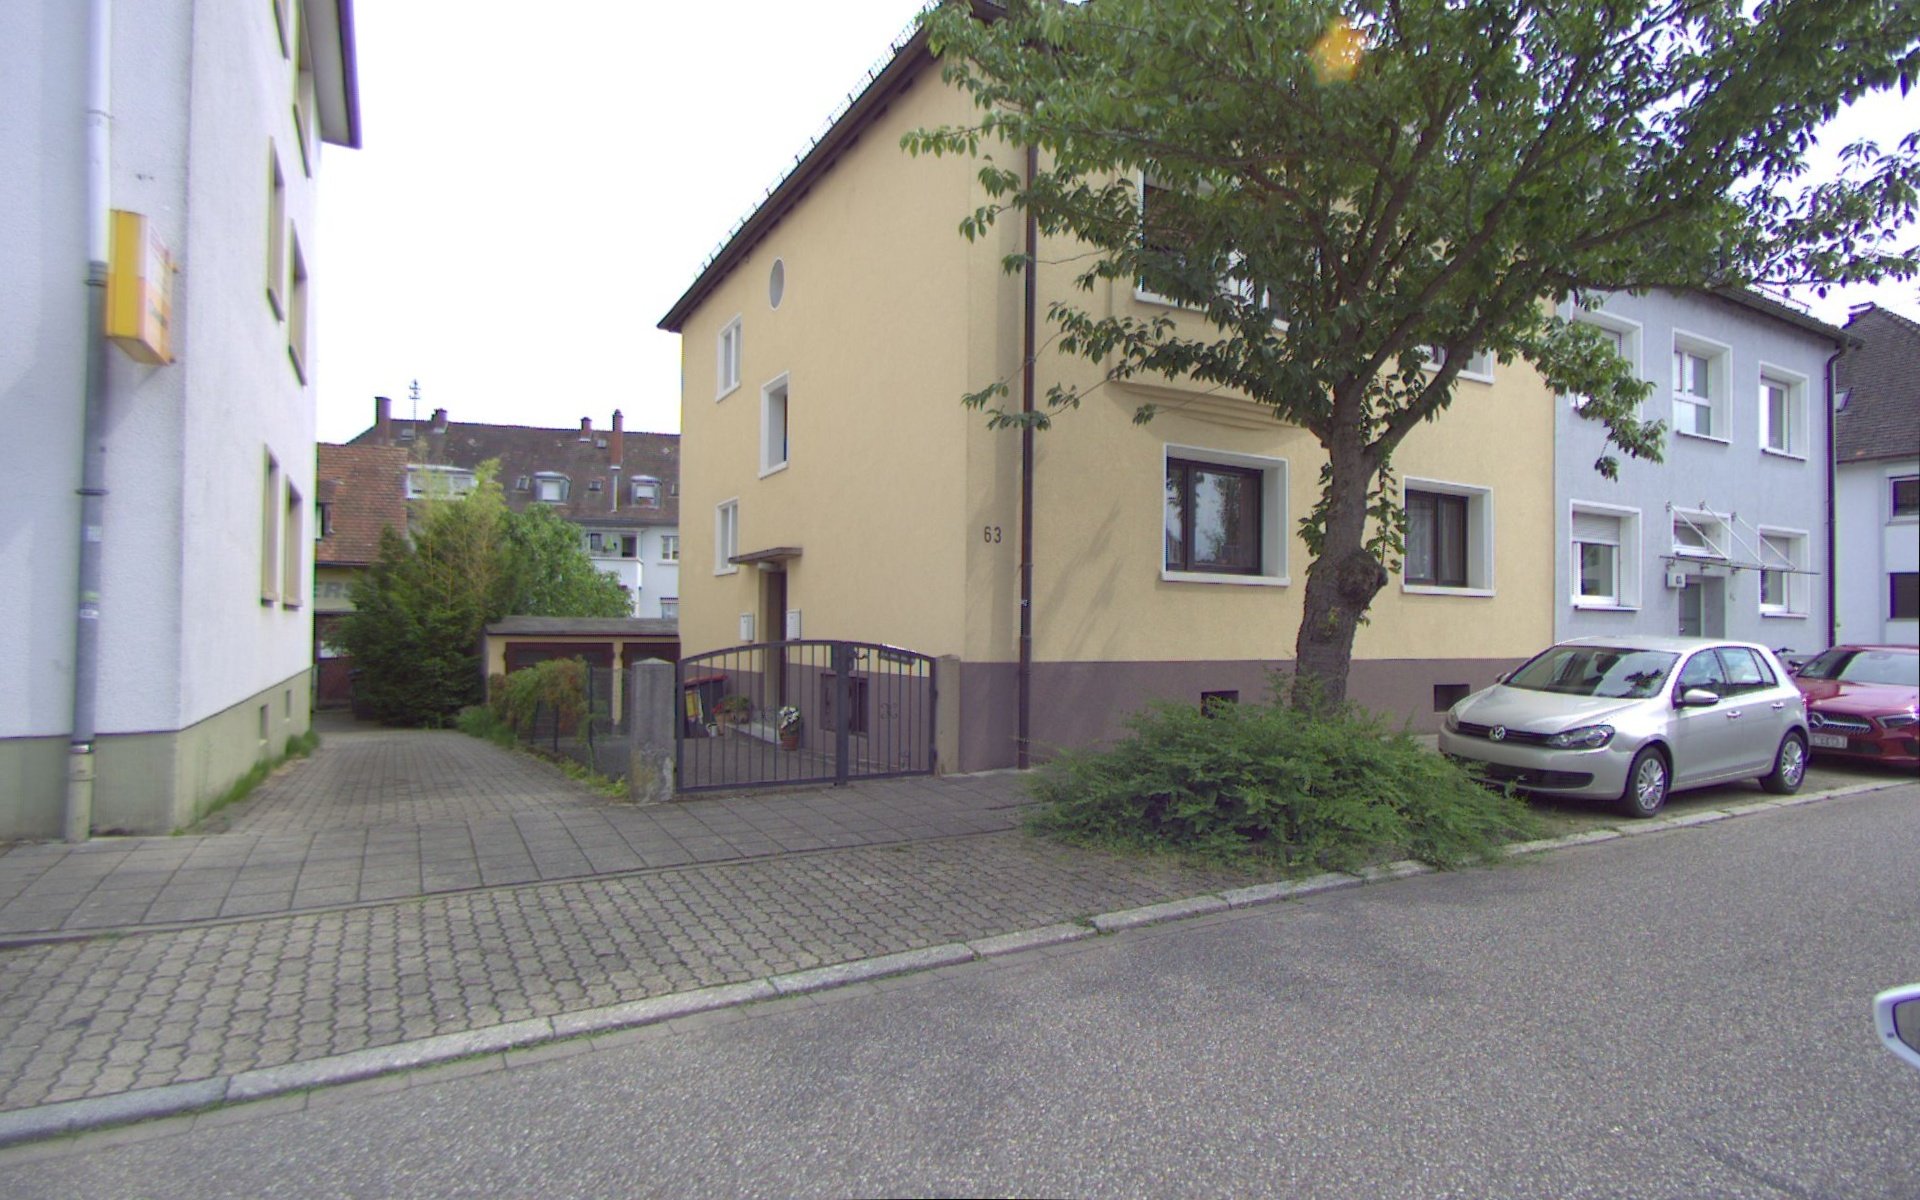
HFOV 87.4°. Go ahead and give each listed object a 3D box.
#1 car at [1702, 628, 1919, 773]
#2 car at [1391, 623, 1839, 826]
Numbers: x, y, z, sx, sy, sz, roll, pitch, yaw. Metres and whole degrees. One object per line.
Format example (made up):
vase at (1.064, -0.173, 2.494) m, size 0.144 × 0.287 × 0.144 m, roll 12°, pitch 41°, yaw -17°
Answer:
car at (11.314, 1.148, 12.364) m, size 4.459 × 1.505 × 1.869 m, roll 2°, pitch -4°, yaw -30°
car at (6.320, 1.038, 9.608) m, size 4.223 × 1.411 × 1.763 m, roll 2°, pitch 4°, yaw -29°
